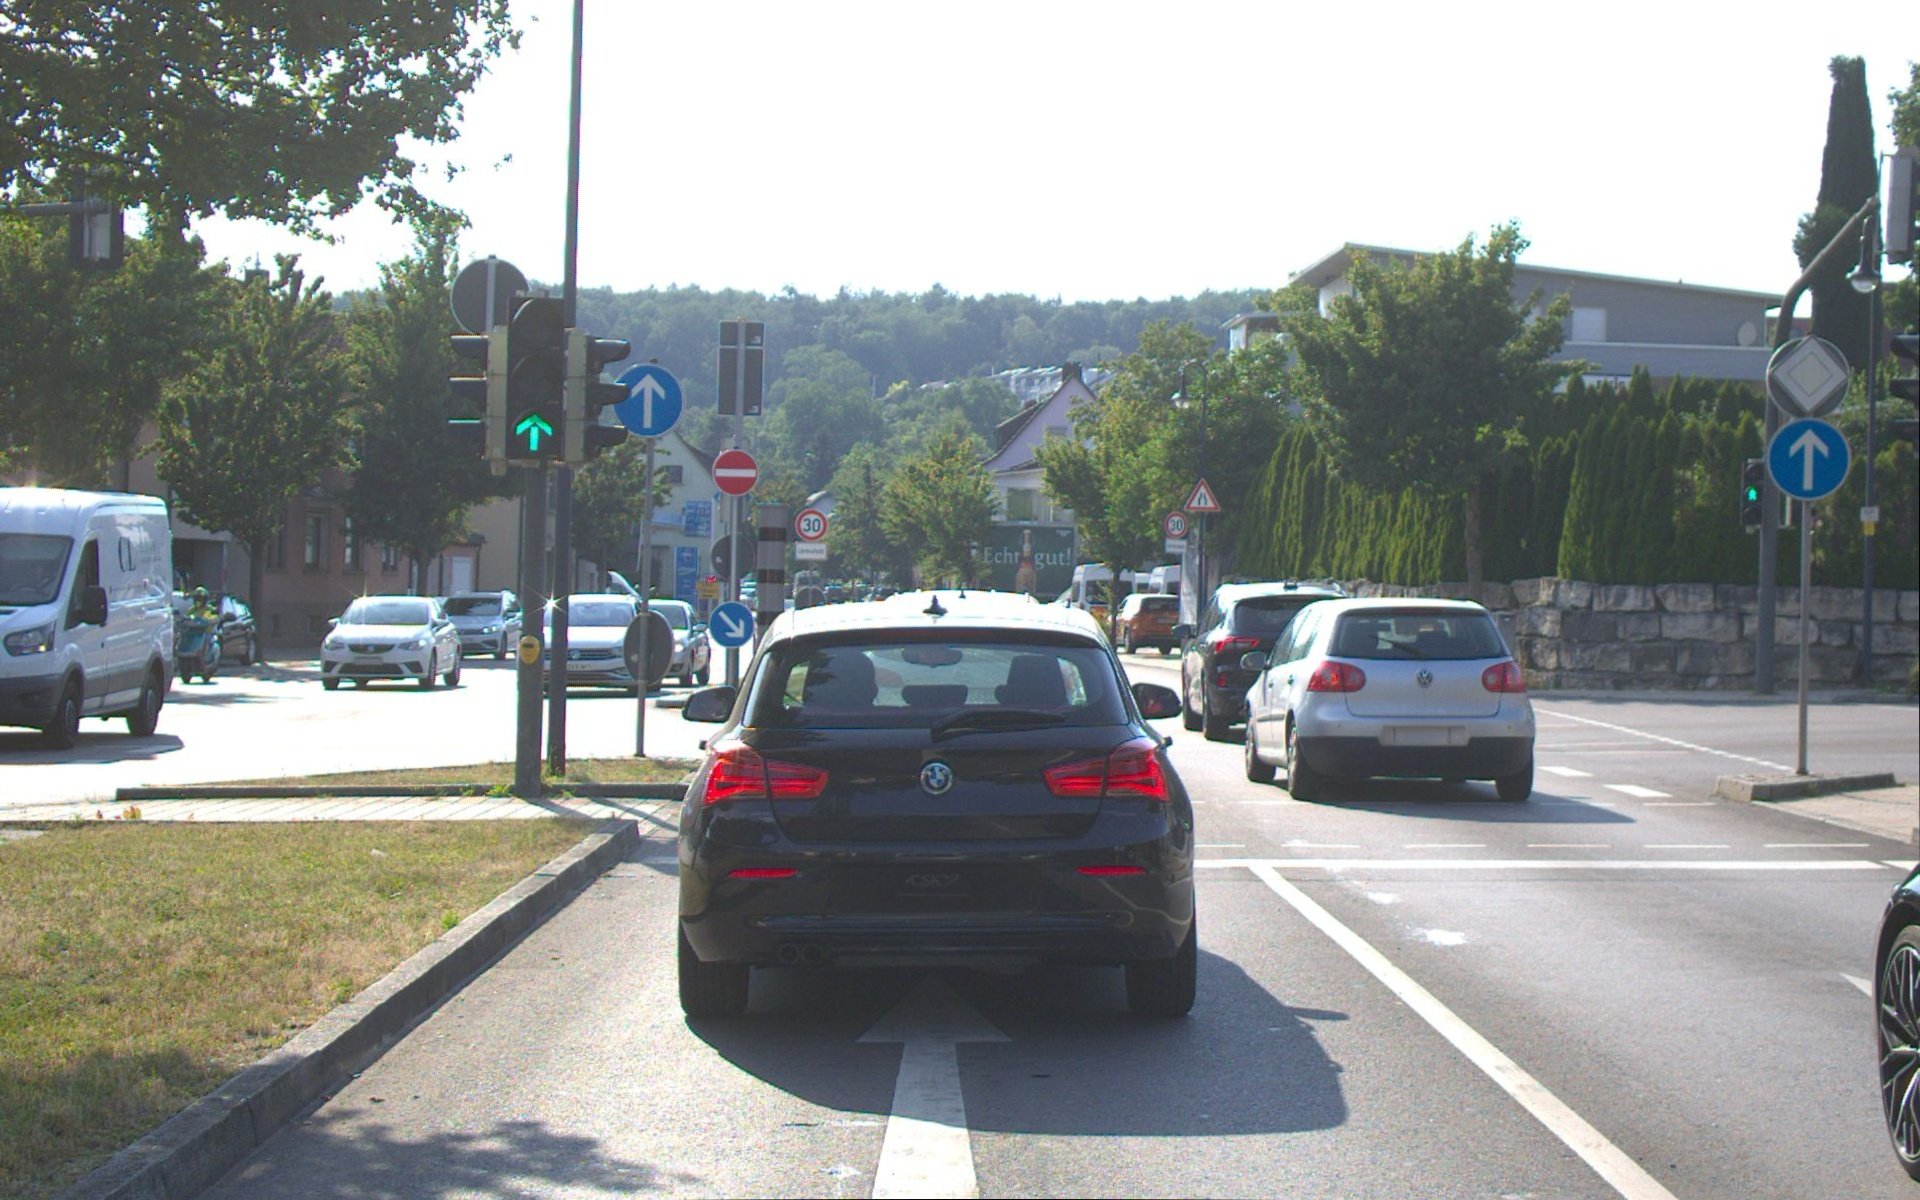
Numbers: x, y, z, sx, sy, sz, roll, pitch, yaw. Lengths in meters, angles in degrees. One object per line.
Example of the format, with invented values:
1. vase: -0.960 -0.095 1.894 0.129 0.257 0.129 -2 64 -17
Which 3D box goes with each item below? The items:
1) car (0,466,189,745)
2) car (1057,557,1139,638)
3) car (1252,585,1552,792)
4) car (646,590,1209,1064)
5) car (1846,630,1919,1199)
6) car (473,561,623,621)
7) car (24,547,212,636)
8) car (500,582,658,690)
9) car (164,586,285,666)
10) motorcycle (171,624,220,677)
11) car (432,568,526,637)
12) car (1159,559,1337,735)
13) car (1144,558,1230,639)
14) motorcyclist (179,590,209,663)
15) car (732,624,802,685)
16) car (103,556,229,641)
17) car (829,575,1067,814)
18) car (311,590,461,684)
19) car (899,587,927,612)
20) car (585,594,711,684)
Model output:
1. car: -9.109 0.013 33.227 2.084 2.467 5.479 0 1 0
2. car: 4.698 -0.123 117.997 2.149 2.671 6.604 0 1 -3
3. car: 3.231 0.609 25.696 1.753 1.409 3.422 0 1 -1
4. car: -0.124 0.718 12.701 1.771 1.451 3.516 1 1 -1
5. car: 3.193 0.784 6.826 1.699 1.364 4.262 0 1 -1
6. car: -17.726 -0.391 148.044 6.158 2.436 2.249 1 0 -1
7. car: -19.572 -0.196 80.006 3.821 1.875 1.779 2 0 2
8. car: -5.575 0.498 50.797 1.835 1.483 4.566 0 1 0
9. car: -14.596 0.487 68.411 1.618 1.505 4.133 0 1 -2
10. motorcycle: -12.969 0.855 58.345 0.412 0.857 1.763 0 1 0
11. car: -11.629 0.045 83.334 1.686 1.606 4.413 0 0 0
12. car: 2.991 0.455 36.277 1.603 1.761 3.411 0 1 0
13. car: 7.785 -0.085 118.442 2.111 2.712 6.444 0 1 -4
14. motorcyclist: -12.985 0.453 58.275 0.403 1.224 0.462 0 0 1
15. car: -4.938 1.379 88.150 1.532 1.457 3.506 0 1 1
16. car: -15.005 -0.049 65.125 1.512 1.505 3.886 2 1 -1
17. car: -0.035 0.627 25.210 1.592 1.595 3.893 0 1 1
18. car: -9.094 0.559 54.736 1.757 1.406 4.000 0 1 -1
19. car: -2.907 -0.029 212.868 1.596 1.480 3.475 1 0 -3
20. car: -5.084 0.629 56.352 1.589 1.422 3.578 0 0 2
